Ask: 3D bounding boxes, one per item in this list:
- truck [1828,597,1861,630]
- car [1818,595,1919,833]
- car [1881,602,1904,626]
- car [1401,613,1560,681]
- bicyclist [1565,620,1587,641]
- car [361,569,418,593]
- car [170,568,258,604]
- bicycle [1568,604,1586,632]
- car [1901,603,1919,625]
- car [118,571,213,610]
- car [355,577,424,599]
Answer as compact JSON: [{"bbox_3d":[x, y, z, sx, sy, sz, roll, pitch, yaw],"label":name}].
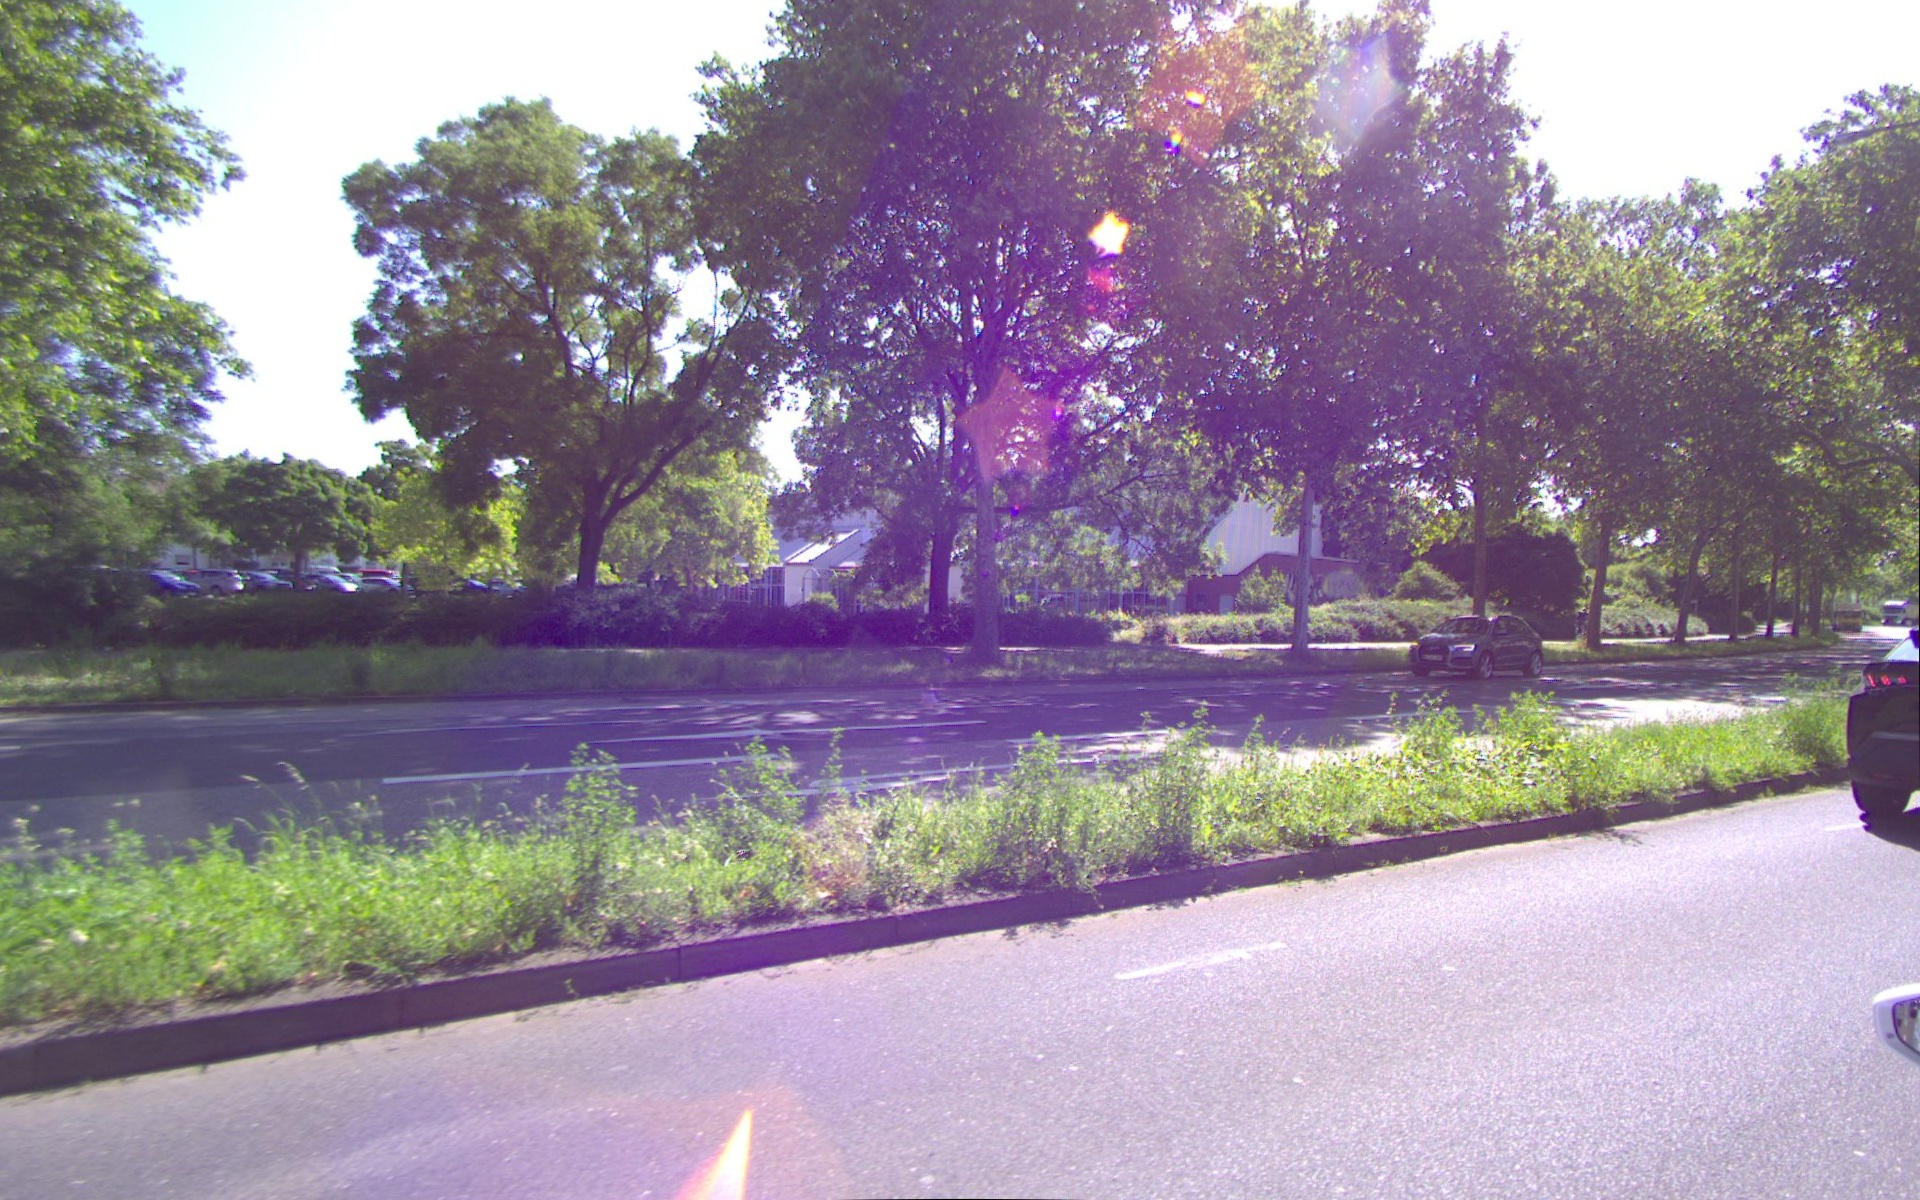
[{"bbox_3d":[99.341,1.437,112.866,2.422,3.496,7.062,4,3,40],"label":"truck"},{"bbox_3d":[8.984,0.880,8.164,4.387,1.719,1.862,2,-1,-33],"label":"car"},{"bbox_3d":[148.109,2.171,159.641,2.423,3.496,7.058,4,3,42],"label":"car"},{"bbox_3d":[13.314,1.162,25.616,4.351,1.577,1.783,1,-1,-35],"label":"car"},{"bbox_3d":[31.215,1.532,50.914,1.412,1.027,0.425,1,0,-37],"label":"bicyclist"},{"bbox_3d":[-48.671,-1.626,85.764,3.849,1.863,1.771,2,0,4],"label":"car"},{"bbox_3d":[-44.121,-0.813,59.445,3.920,2.040,1.818,1,0,4],"label":"car"},{"bbox_3d":[31.293,0.926,50.954,0.946,1.403,0.425,1,1,-37],"label":"bicycle"},{"bbox_3d":[156.687,2.298,165.647,2.036,3.480,6.728,1,0,44],"label":"car"},{"bbox_3d":[-44.235,-0.540,55.967,3.920,2.040,1.818,1,0,4],"label":"car"},{"bbox_3d":[-41.223,-0.857,72.647,3.921,1.511,1.818,1,0,1],"label":"car"}]
